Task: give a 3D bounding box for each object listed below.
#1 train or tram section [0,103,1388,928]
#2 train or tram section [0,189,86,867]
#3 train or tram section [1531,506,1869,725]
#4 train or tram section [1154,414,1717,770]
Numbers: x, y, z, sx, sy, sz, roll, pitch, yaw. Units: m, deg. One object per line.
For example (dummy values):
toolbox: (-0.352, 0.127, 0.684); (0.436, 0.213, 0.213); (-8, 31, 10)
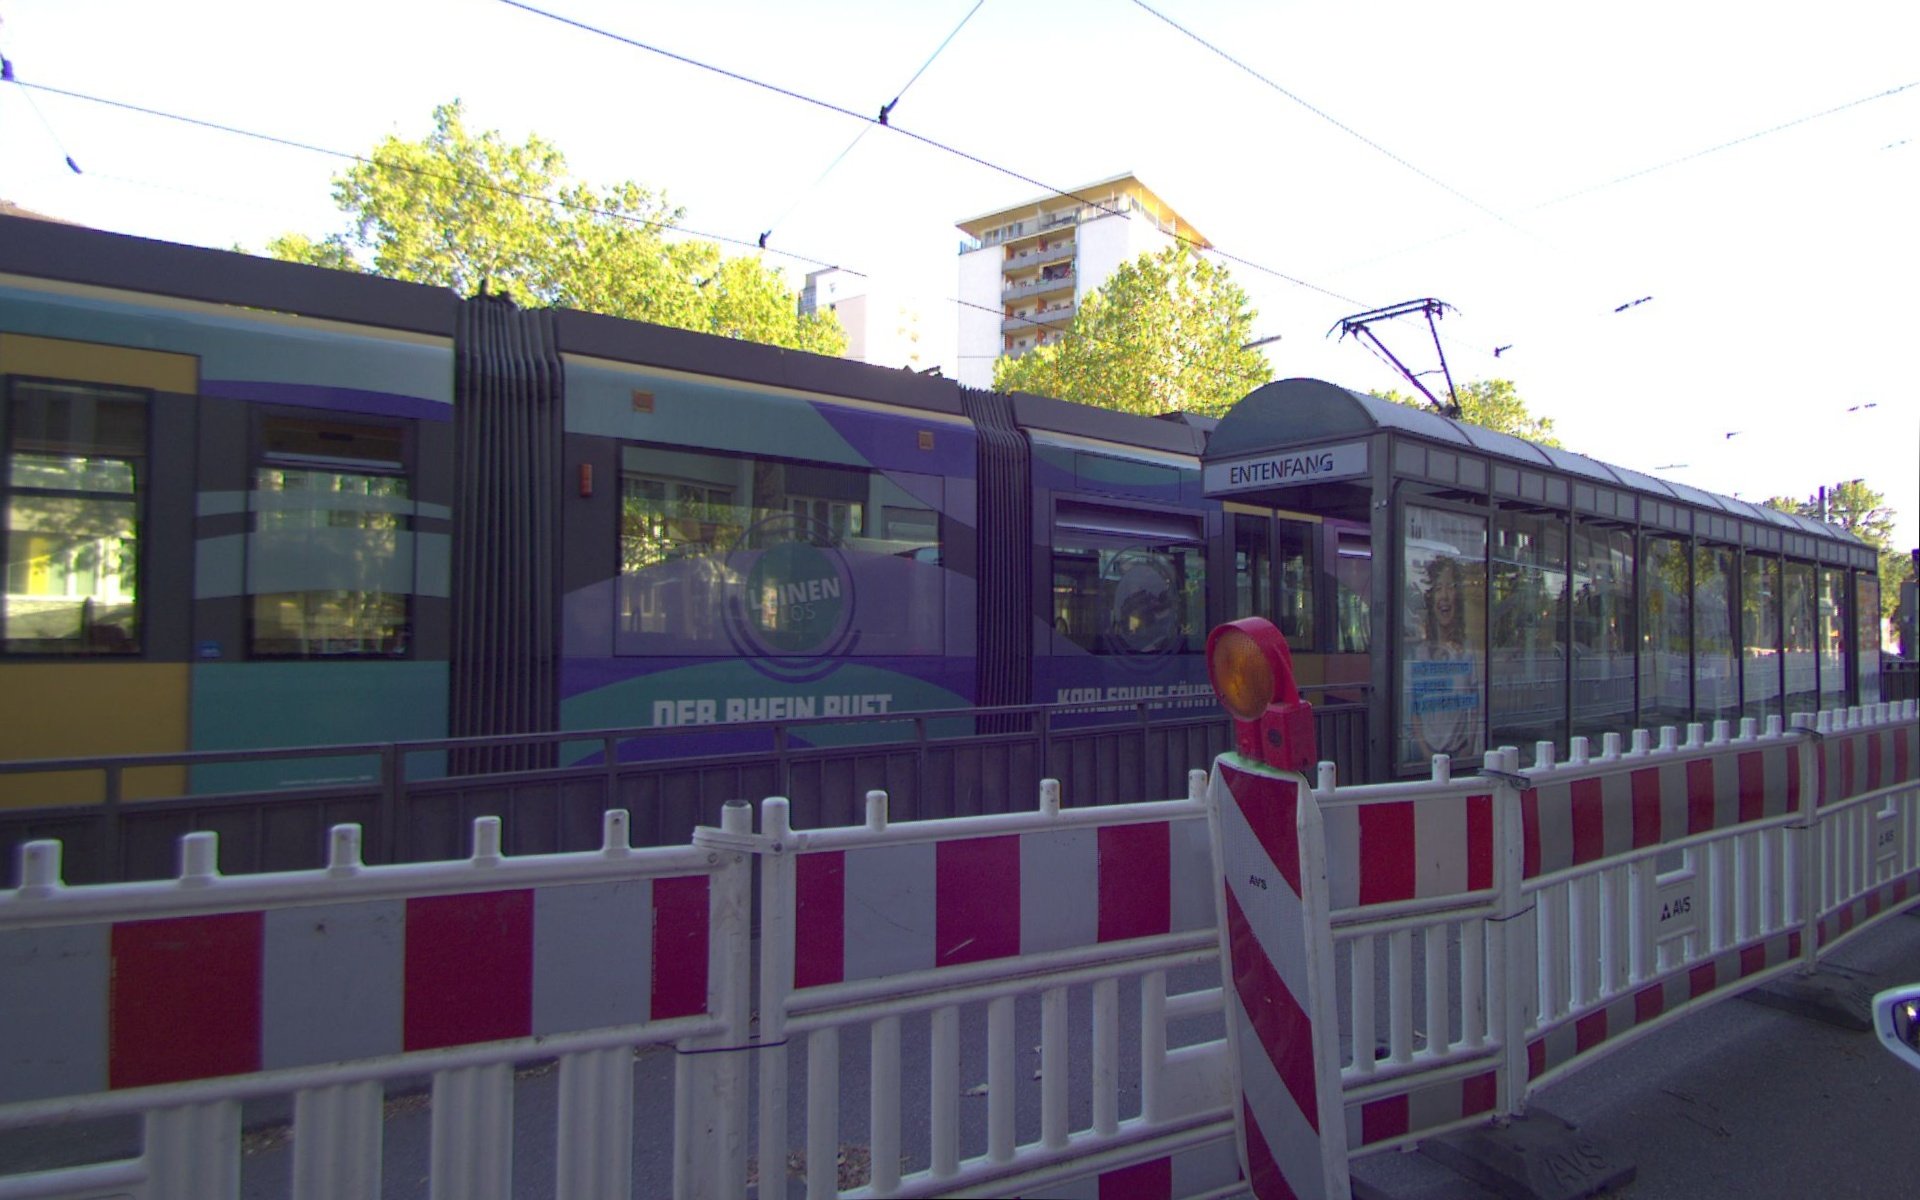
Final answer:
train or tram section: (-0.876, -0.221, 8.154); (10.229, 3.533, 2.854); (2, -1, -33)
train or tram section: (-9.481, -0.473, 2.759); (10.220, 3.533, 2.821); (2, -1, -31)
train or tram section: (15.400, 0.401, 20.434); (10.243, 3.533, 2.796); (2, -1, -37)
train or tram section: (7.283, 0.068, 14.213); (10.243, 3.533, 2.815); (2, -1, -37)
